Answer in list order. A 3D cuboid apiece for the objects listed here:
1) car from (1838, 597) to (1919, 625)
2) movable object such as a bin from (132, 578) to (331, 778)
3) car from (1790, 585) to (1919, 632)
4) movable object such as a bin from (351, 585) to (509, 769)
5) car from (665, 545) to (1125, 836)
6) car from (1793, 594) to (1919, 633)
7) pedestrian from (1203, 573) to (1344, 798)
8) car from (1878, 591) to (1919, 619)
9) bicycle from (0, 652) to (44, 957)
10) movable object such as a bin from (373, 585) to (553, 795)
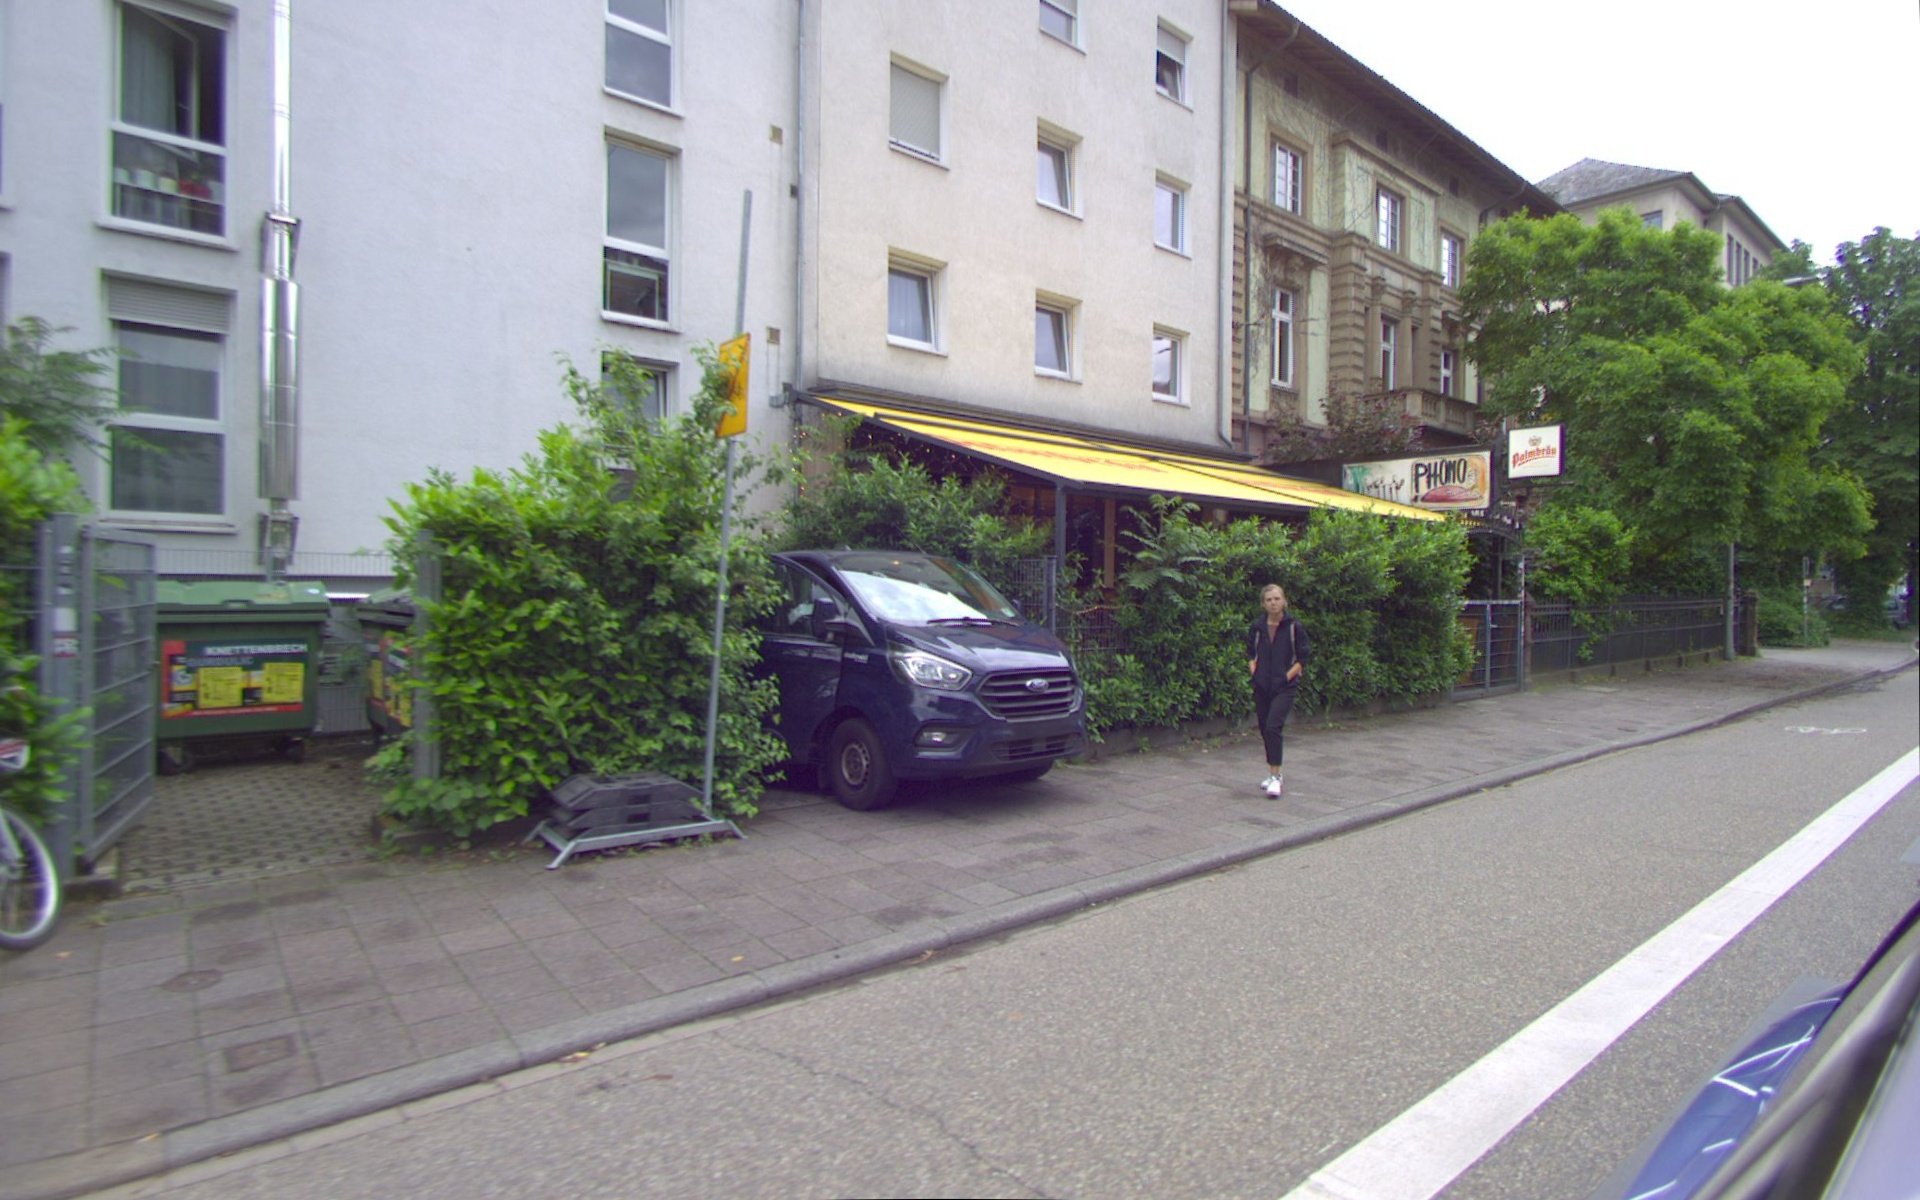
[{"bbox_3d":[49.981,0.576,54.048,4.272,1.420,1.745,1,1,17],"label":"car"},{"bbox_3d":[-5.843,0.560,8.139,1.236,1.459,0.978,0,0,-38],"label":"movable object such as a bin"},{"bbox_3d":[37.809,0.346,42.771,3.791,1.843,1.796,1,1,19],"label":"car"},{"bbox_3d":[-4.564,0.594,8.695,1.000,1.436,1.229,0,0,-38],"label":"movable object such as a bin"},{"bbox_3d":[-0.812,0.495,8.624,1.790,1.831,4.292,0,2,-38],"label":"car"},{"bbox_3d":[39.826,0.572,44.907,3.943,1.558,1.856,1,1,15],"label":"car"},{"bbox_3d":[2.555,0.645,8.248,0.943,1.691,0.624,0,3,-41],"label":"pedestrian"},{"bbox_3d":[56.224,0.312,58.558,4.285,1.571,1.733,1,0,28],"label":"car"},{"bbox_3d":[-4.566,0.812,3.691,1.780,1.141,0.634,1,2,-41],"label":"bicycle"},{"bbox_3d":[-3.806,0.609,7.719,1.000,1.436,1.229,0,0,-38],"label":"movable object such as a bin"}]
